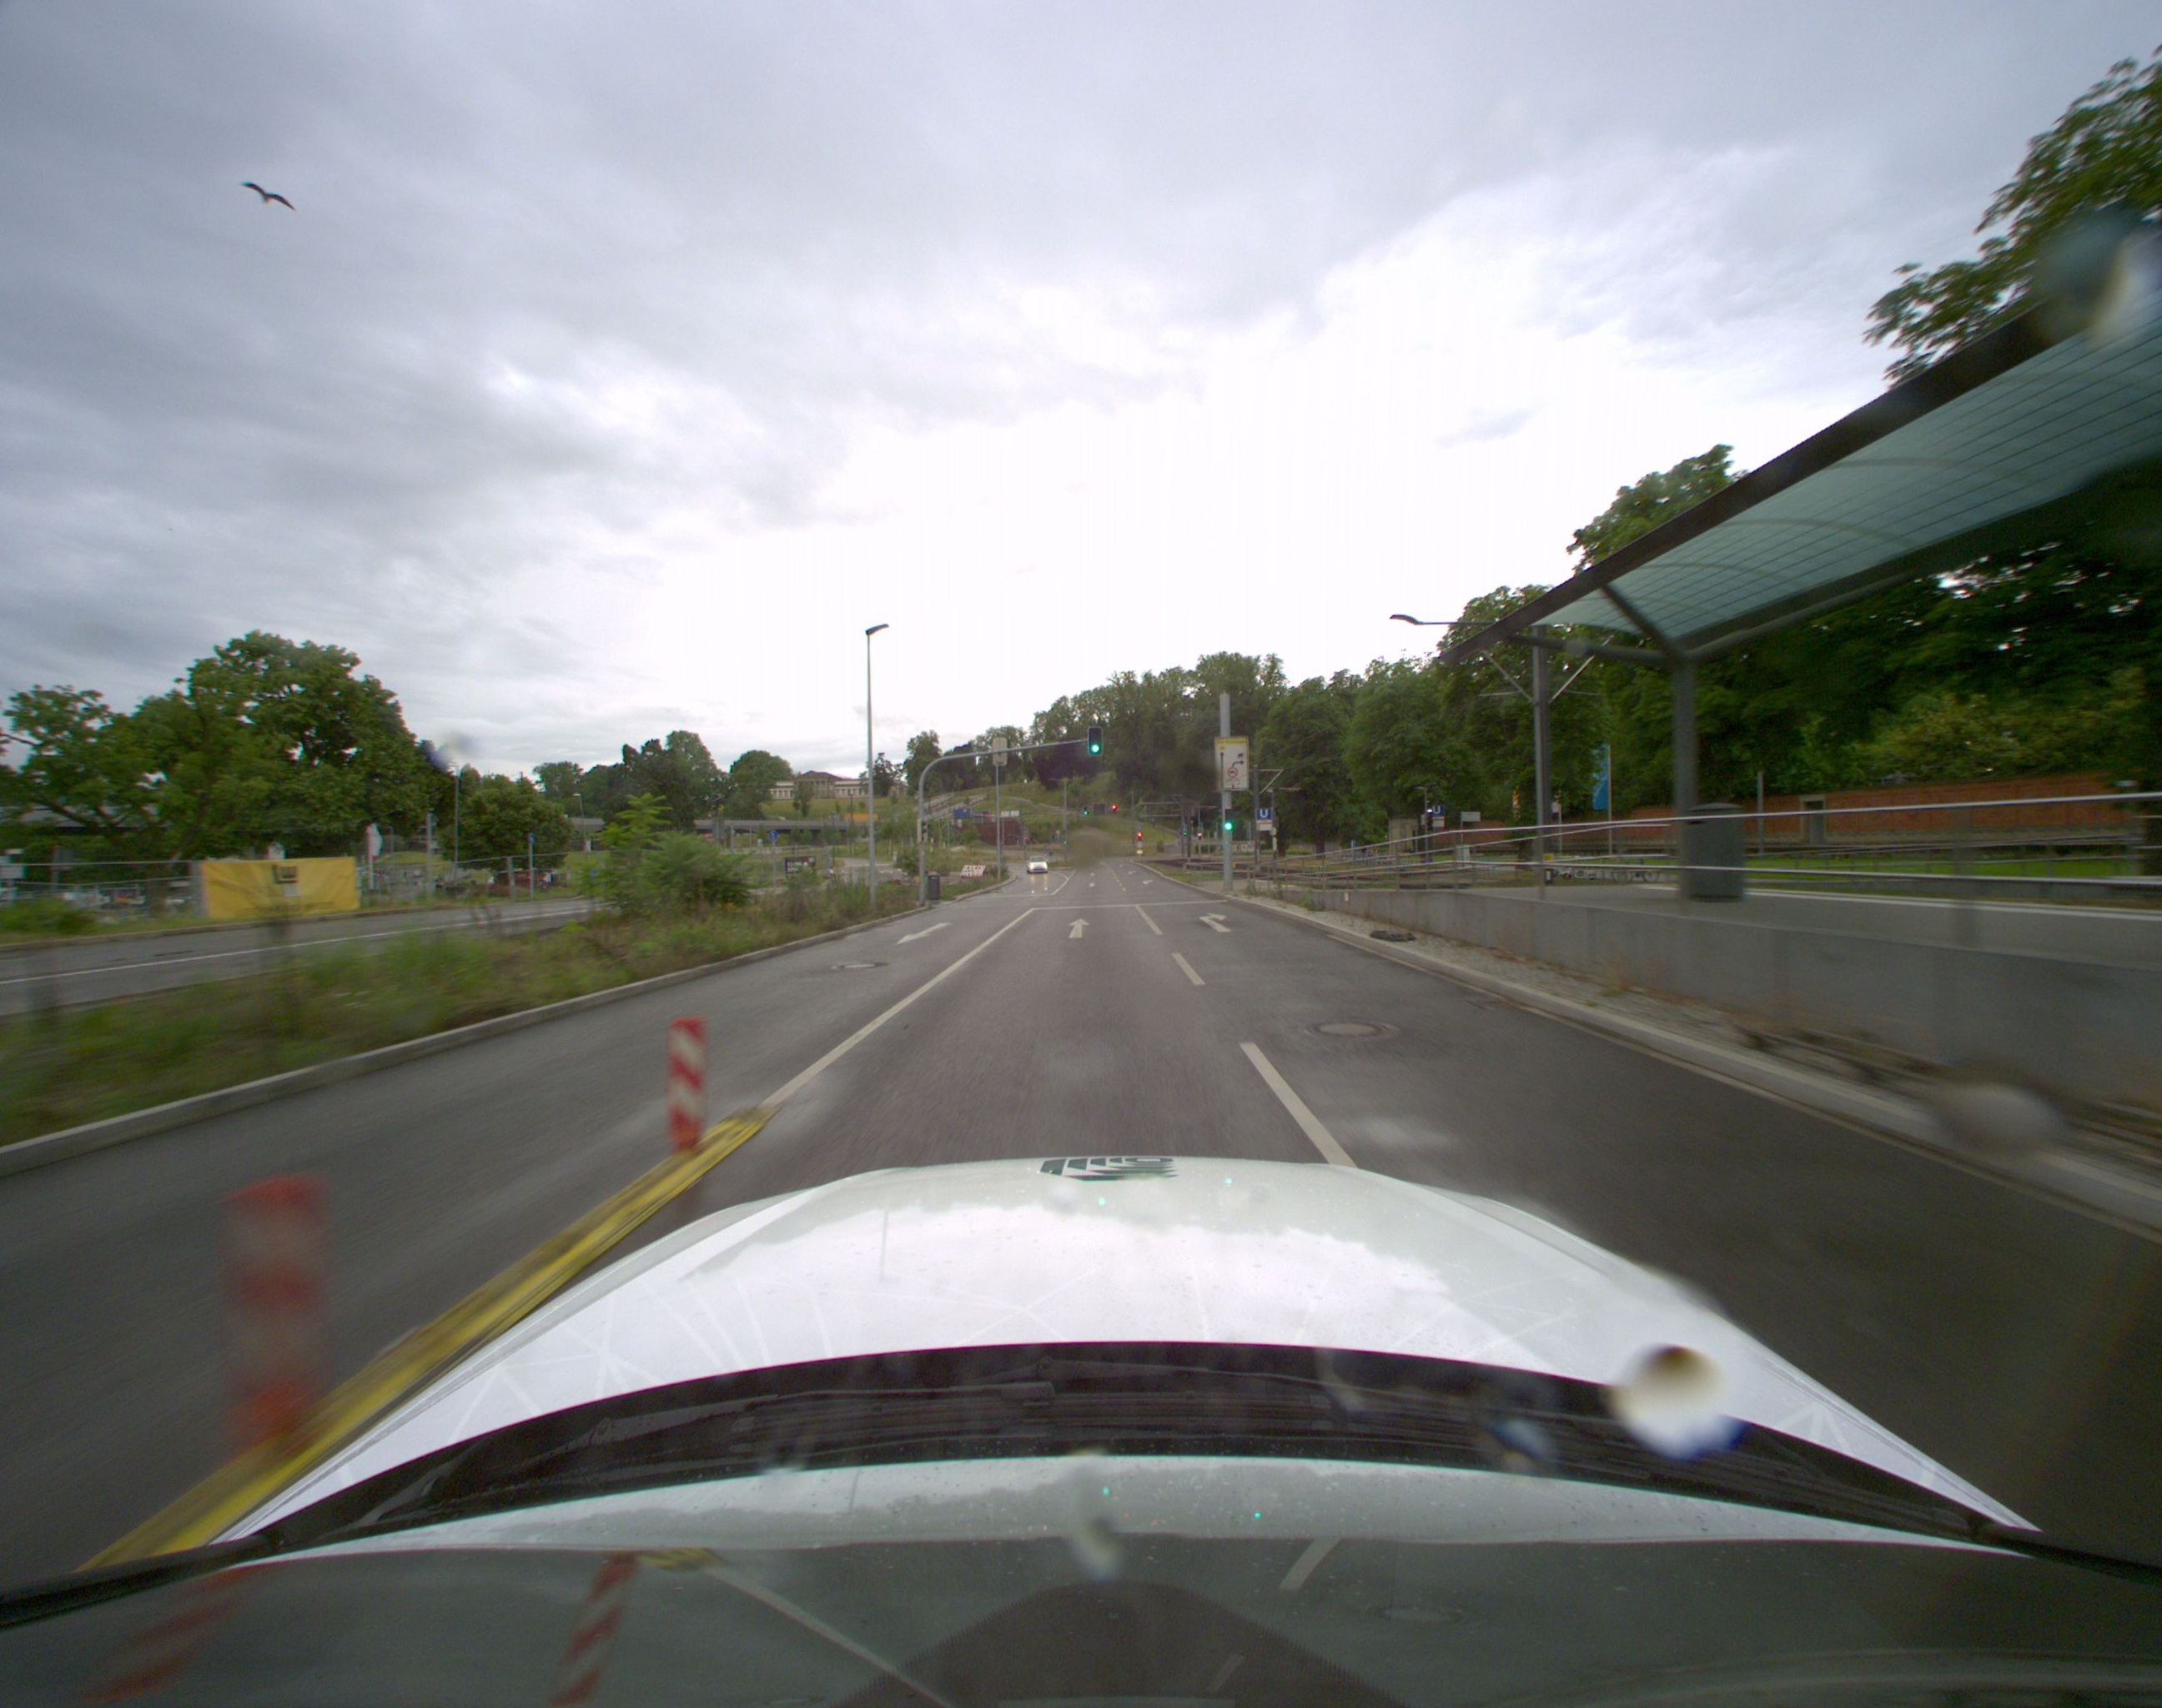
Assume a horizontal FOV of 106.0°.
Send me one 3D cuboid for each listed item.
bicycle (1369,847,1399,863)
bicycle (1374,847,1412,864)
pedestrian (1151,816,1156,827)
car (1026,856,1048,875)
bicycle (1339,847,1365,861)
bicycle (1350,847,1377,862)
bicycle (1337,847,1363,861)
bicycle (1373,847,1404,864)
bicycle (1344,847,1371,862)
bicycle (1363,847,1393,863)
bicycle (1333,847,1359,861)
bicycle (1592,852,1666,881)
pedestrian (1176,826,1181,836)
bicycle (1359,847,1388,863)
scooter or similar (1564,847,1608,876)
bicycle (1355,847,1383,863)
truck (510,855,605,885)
[{"bbox_3d":[20.914,0.086,56.267,1.805,1.032,0.652,-2,0,-1],"label":"bicycle"},{"bbox_3d":[20.877,0.101,54.513,2.216,1.032,0.689,-2,0,-1],"label":"bicycle"},{"bbox_3d":[14.780,-6.611,166.093,0.790,2.012,0.654,-5,6,-15],"label":"pedestrian"},{"bbox_3d":[-3.878,0.994,71.327,1.585,1.491,3.705,-2,0,-7],"label":"car"},{"bbox_3d":[20.792,0.012,62.523,1.805,1.032,0.652,-2,0,-1],"label":"bicycle"},{"bbox_3d":[20.884,0.043,60.188,1.805,1.032,0.652,-2,0,-1],"label":"bicycle"},{"bbox_3d":[20.936,-0.001,63.344,1.805,1.032,0.652,-2,0,-1],"label":"bicycle"},{"bbox_3d":[20.883,0.096,55.315,1.805,1.032,0.652,-2,0,-1],"label":"bicycle"},{"bbox_3d":[20.913,0.030,61.565,1.805,1.032,0.652,-2,0,-1],"label":"bicycle"},{"bbox_3d":[20.836,0.073,57.132,1.841,1.032,0.652,-2,0,-1],"label":"bicycle"},{"bbox_3d":[20.904,-0.005,64.227,1.805,1.032,0.652,-2,0,-1],"label":"bicycle"},{"bbox_3d":[20.085,0.460,29.853,2.314,0.957,0.570,-2,0,-1],"label":"bicycle"},{"bbox_3d":[17.632,-4.160,147.270,0.954,1.781,1.124,1,1,3],"label":"pedestrian"},{"bbox_3d":[20.826,0.066,57.929,1.805,1.032,0.652,-2,0,-1],"label":"bicycle"},{"bbox_3d":[20.622,0.295,33.258,1.538,1.136,0.431,-2,0,-1],"label":"scooter or similar"},{"bbox_3d":[20.746,0.059,58.680,1.805,1.034,0.652,-2,0,-2],"label":"bicycle"},{"bbox_3d":[-53.770,1.597,83.787,7.998,2.802,2.397,-1,0,-37],"label":"truck"}]
